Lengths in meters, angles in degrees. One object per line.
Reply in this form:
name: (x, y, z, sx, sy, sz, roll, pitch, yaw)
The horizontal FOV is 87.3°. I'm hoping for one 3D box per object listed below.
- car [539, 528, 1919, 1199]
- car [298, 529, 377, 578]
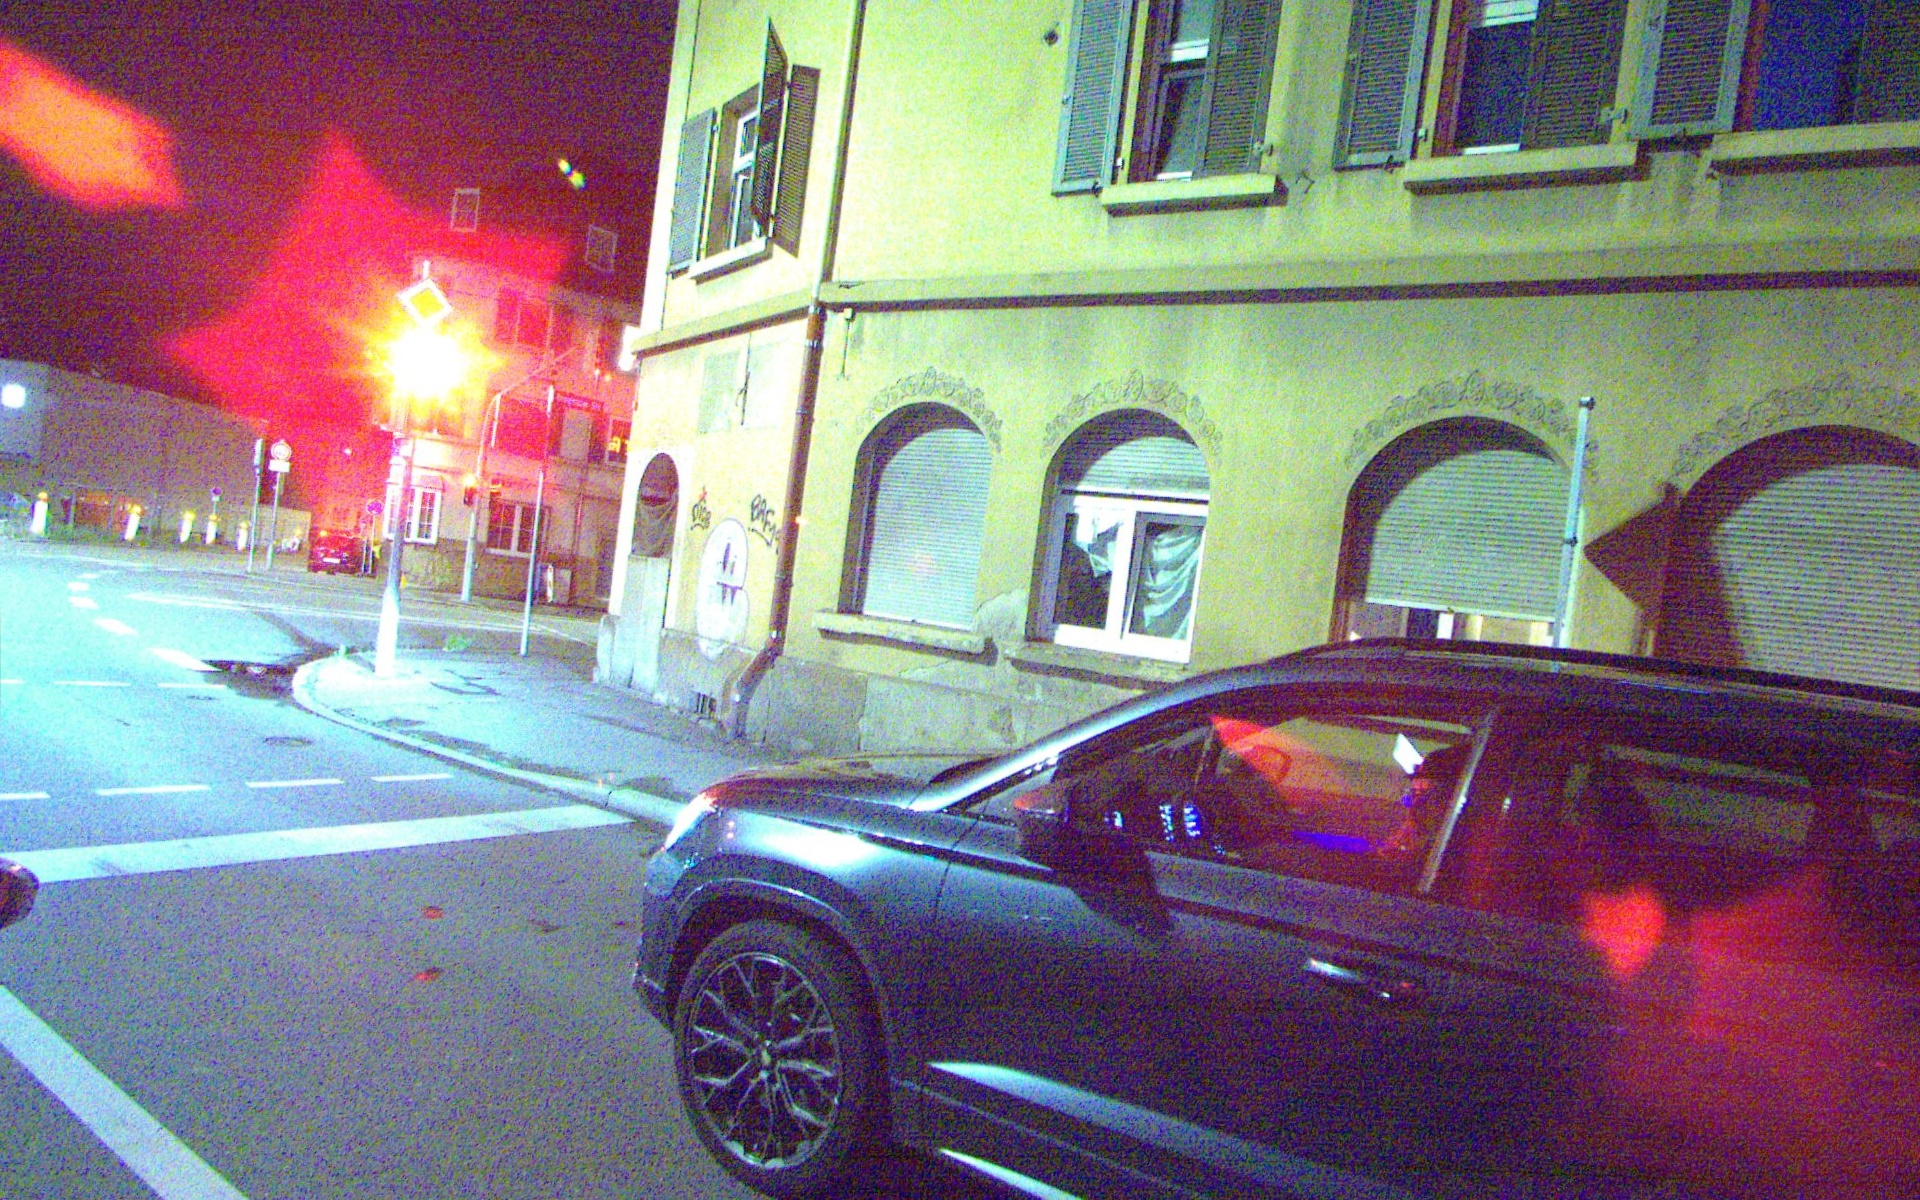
car: (1.091, 0.853, 2.606, 4.157, 1.629, 1.674, 6, -1, 29)
car: (-24.486, -1.796, 39.701, 1.708, 1.631, 3.610, 7, -1, -19)
